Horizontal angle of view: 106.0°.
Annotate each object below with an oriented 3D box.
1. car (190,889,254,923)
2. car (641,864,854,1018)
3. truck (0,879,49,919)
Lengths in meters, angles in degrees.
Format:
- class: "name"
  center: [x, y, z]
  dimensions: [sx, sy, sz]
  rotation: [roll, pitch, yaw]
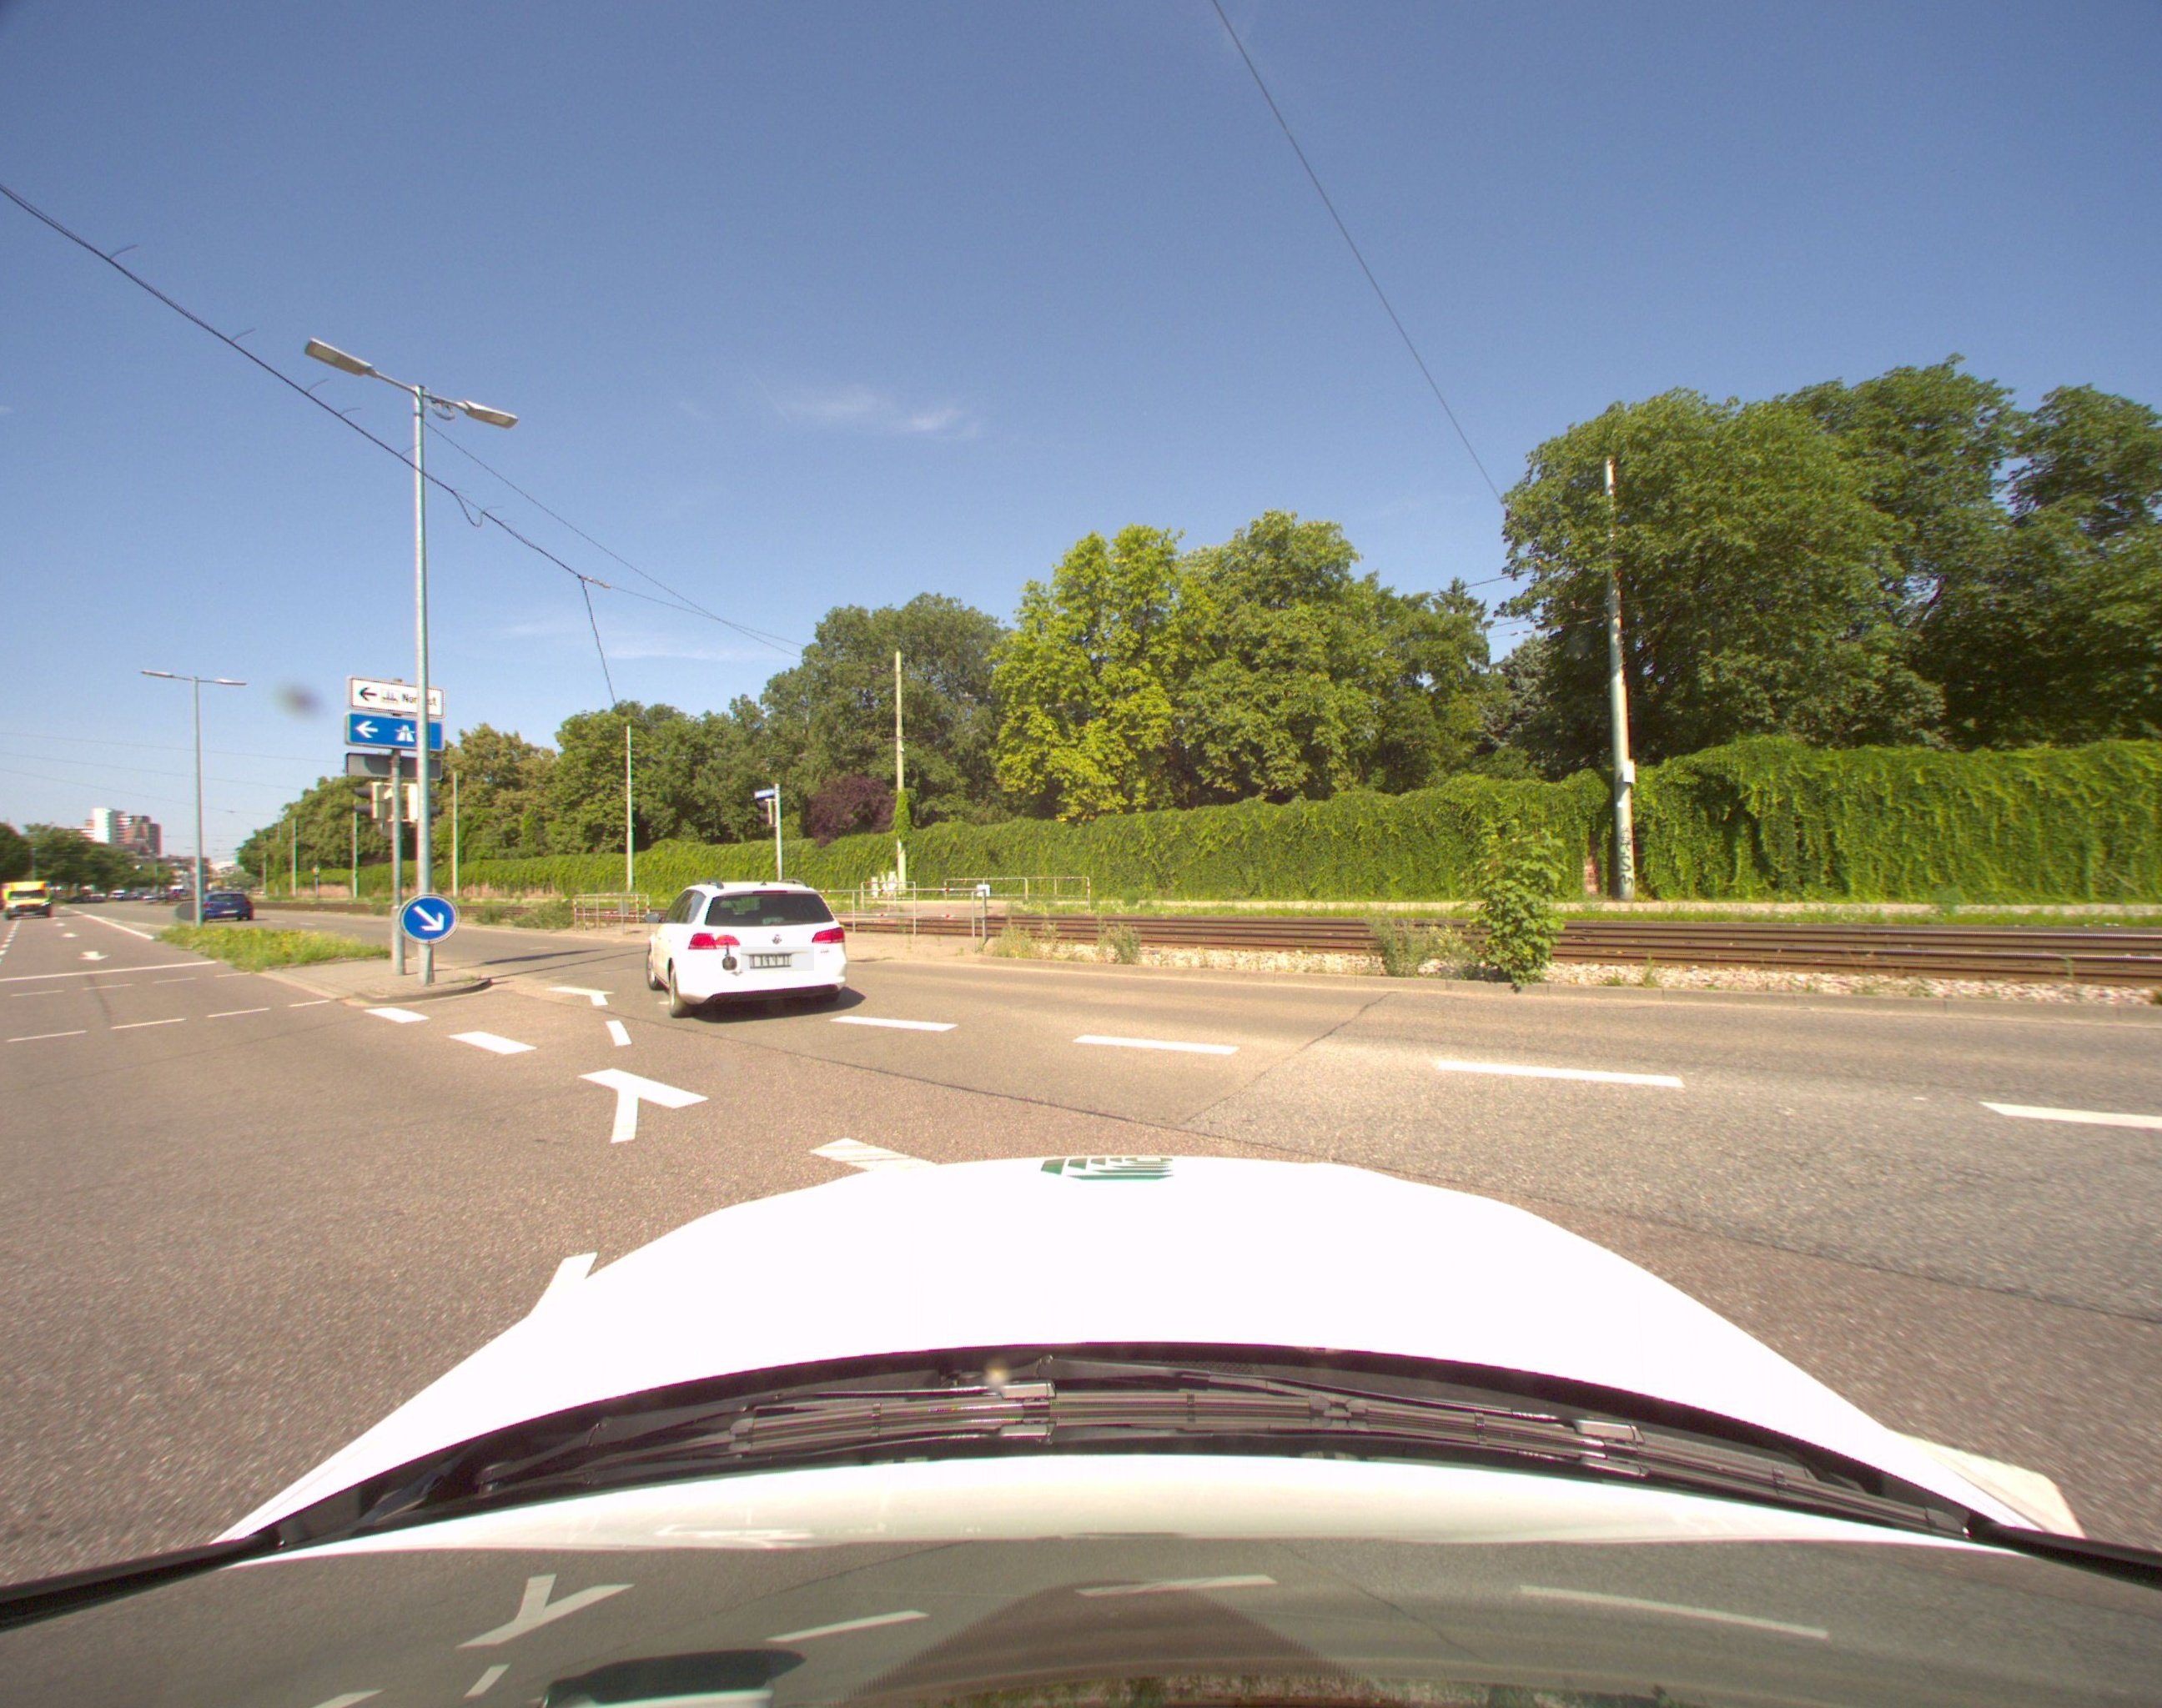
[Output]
- class: "car"
  center: [-42.360, 2.525, 40.143]
  dimensions: [3.948, 1.507, 1.818]
  rotation: [-2, -1, 38]
- class: "car"
  center: [-4.333, 0.934, 10.123]
  dimensions: [1.703, 1.451, 4.412]
  rotation: [-1, -2, -32]
- class: "truck"
  center: [-77.671, 3.313, 59.697]
  dimensions: [7.263, 2.668, 2.353]
  rotation: [-3, 0, 38]
